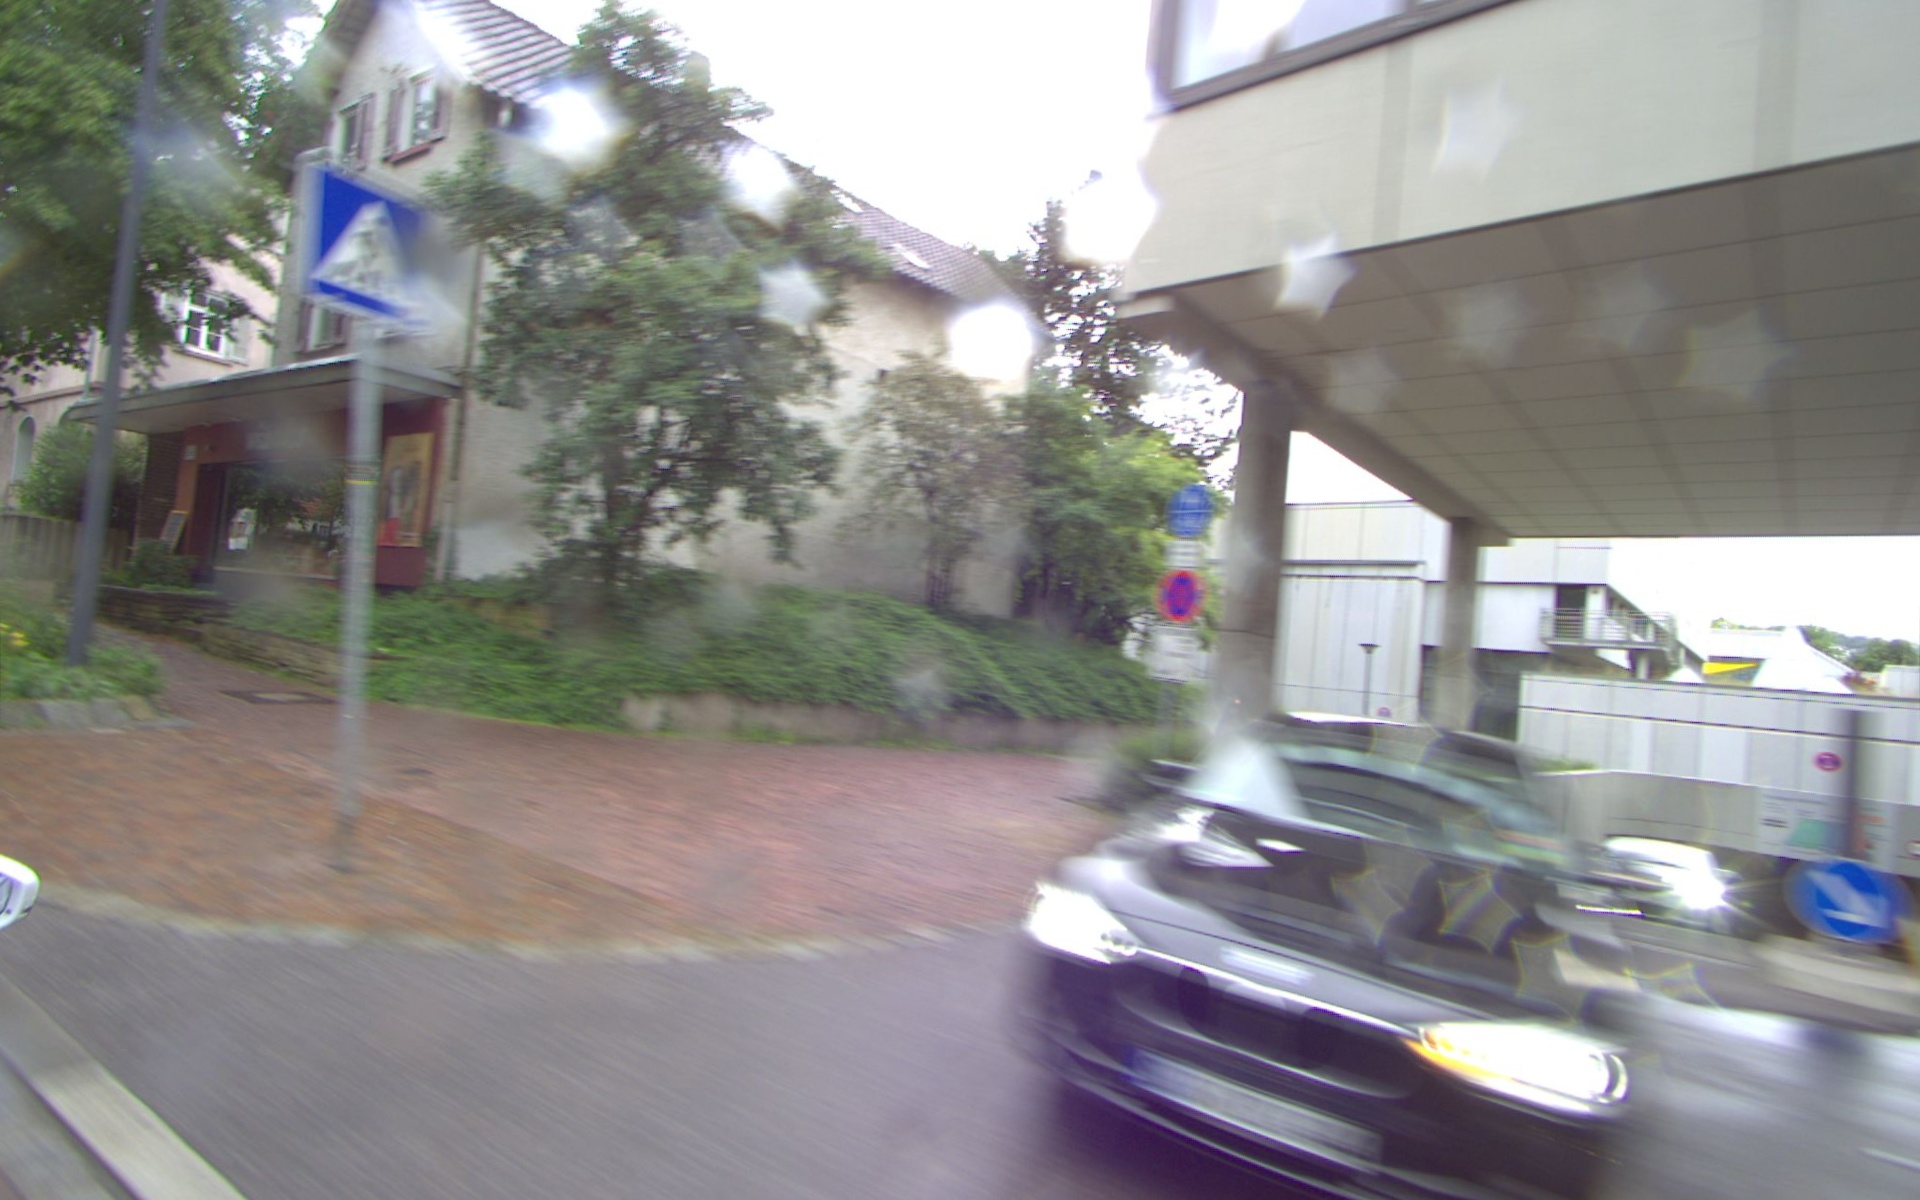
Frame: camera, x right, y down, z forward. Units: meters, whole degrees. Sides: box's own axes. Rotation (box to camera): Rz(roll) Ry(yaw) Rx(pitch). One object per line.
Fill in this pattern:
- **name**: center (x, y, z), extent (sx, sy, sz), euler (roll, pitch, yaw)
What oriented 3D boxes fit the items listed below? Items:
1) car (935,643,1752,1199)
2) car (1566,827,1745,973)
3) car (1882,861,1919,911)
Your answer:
- **car**: center (1.864, 1.195, 4.406), extent (1.809, 1.432, 4.295), euler (7, -3, 31)
- **car**: center (10.817, 4.479, 15.524), extent (1.720, 1.457, 3.985), euler (4, -5, 42)
- **car**: center (35.899, 10.603, 36.205), extent (3.949, 1.421, 1.612), euler (3, -3, 43)
